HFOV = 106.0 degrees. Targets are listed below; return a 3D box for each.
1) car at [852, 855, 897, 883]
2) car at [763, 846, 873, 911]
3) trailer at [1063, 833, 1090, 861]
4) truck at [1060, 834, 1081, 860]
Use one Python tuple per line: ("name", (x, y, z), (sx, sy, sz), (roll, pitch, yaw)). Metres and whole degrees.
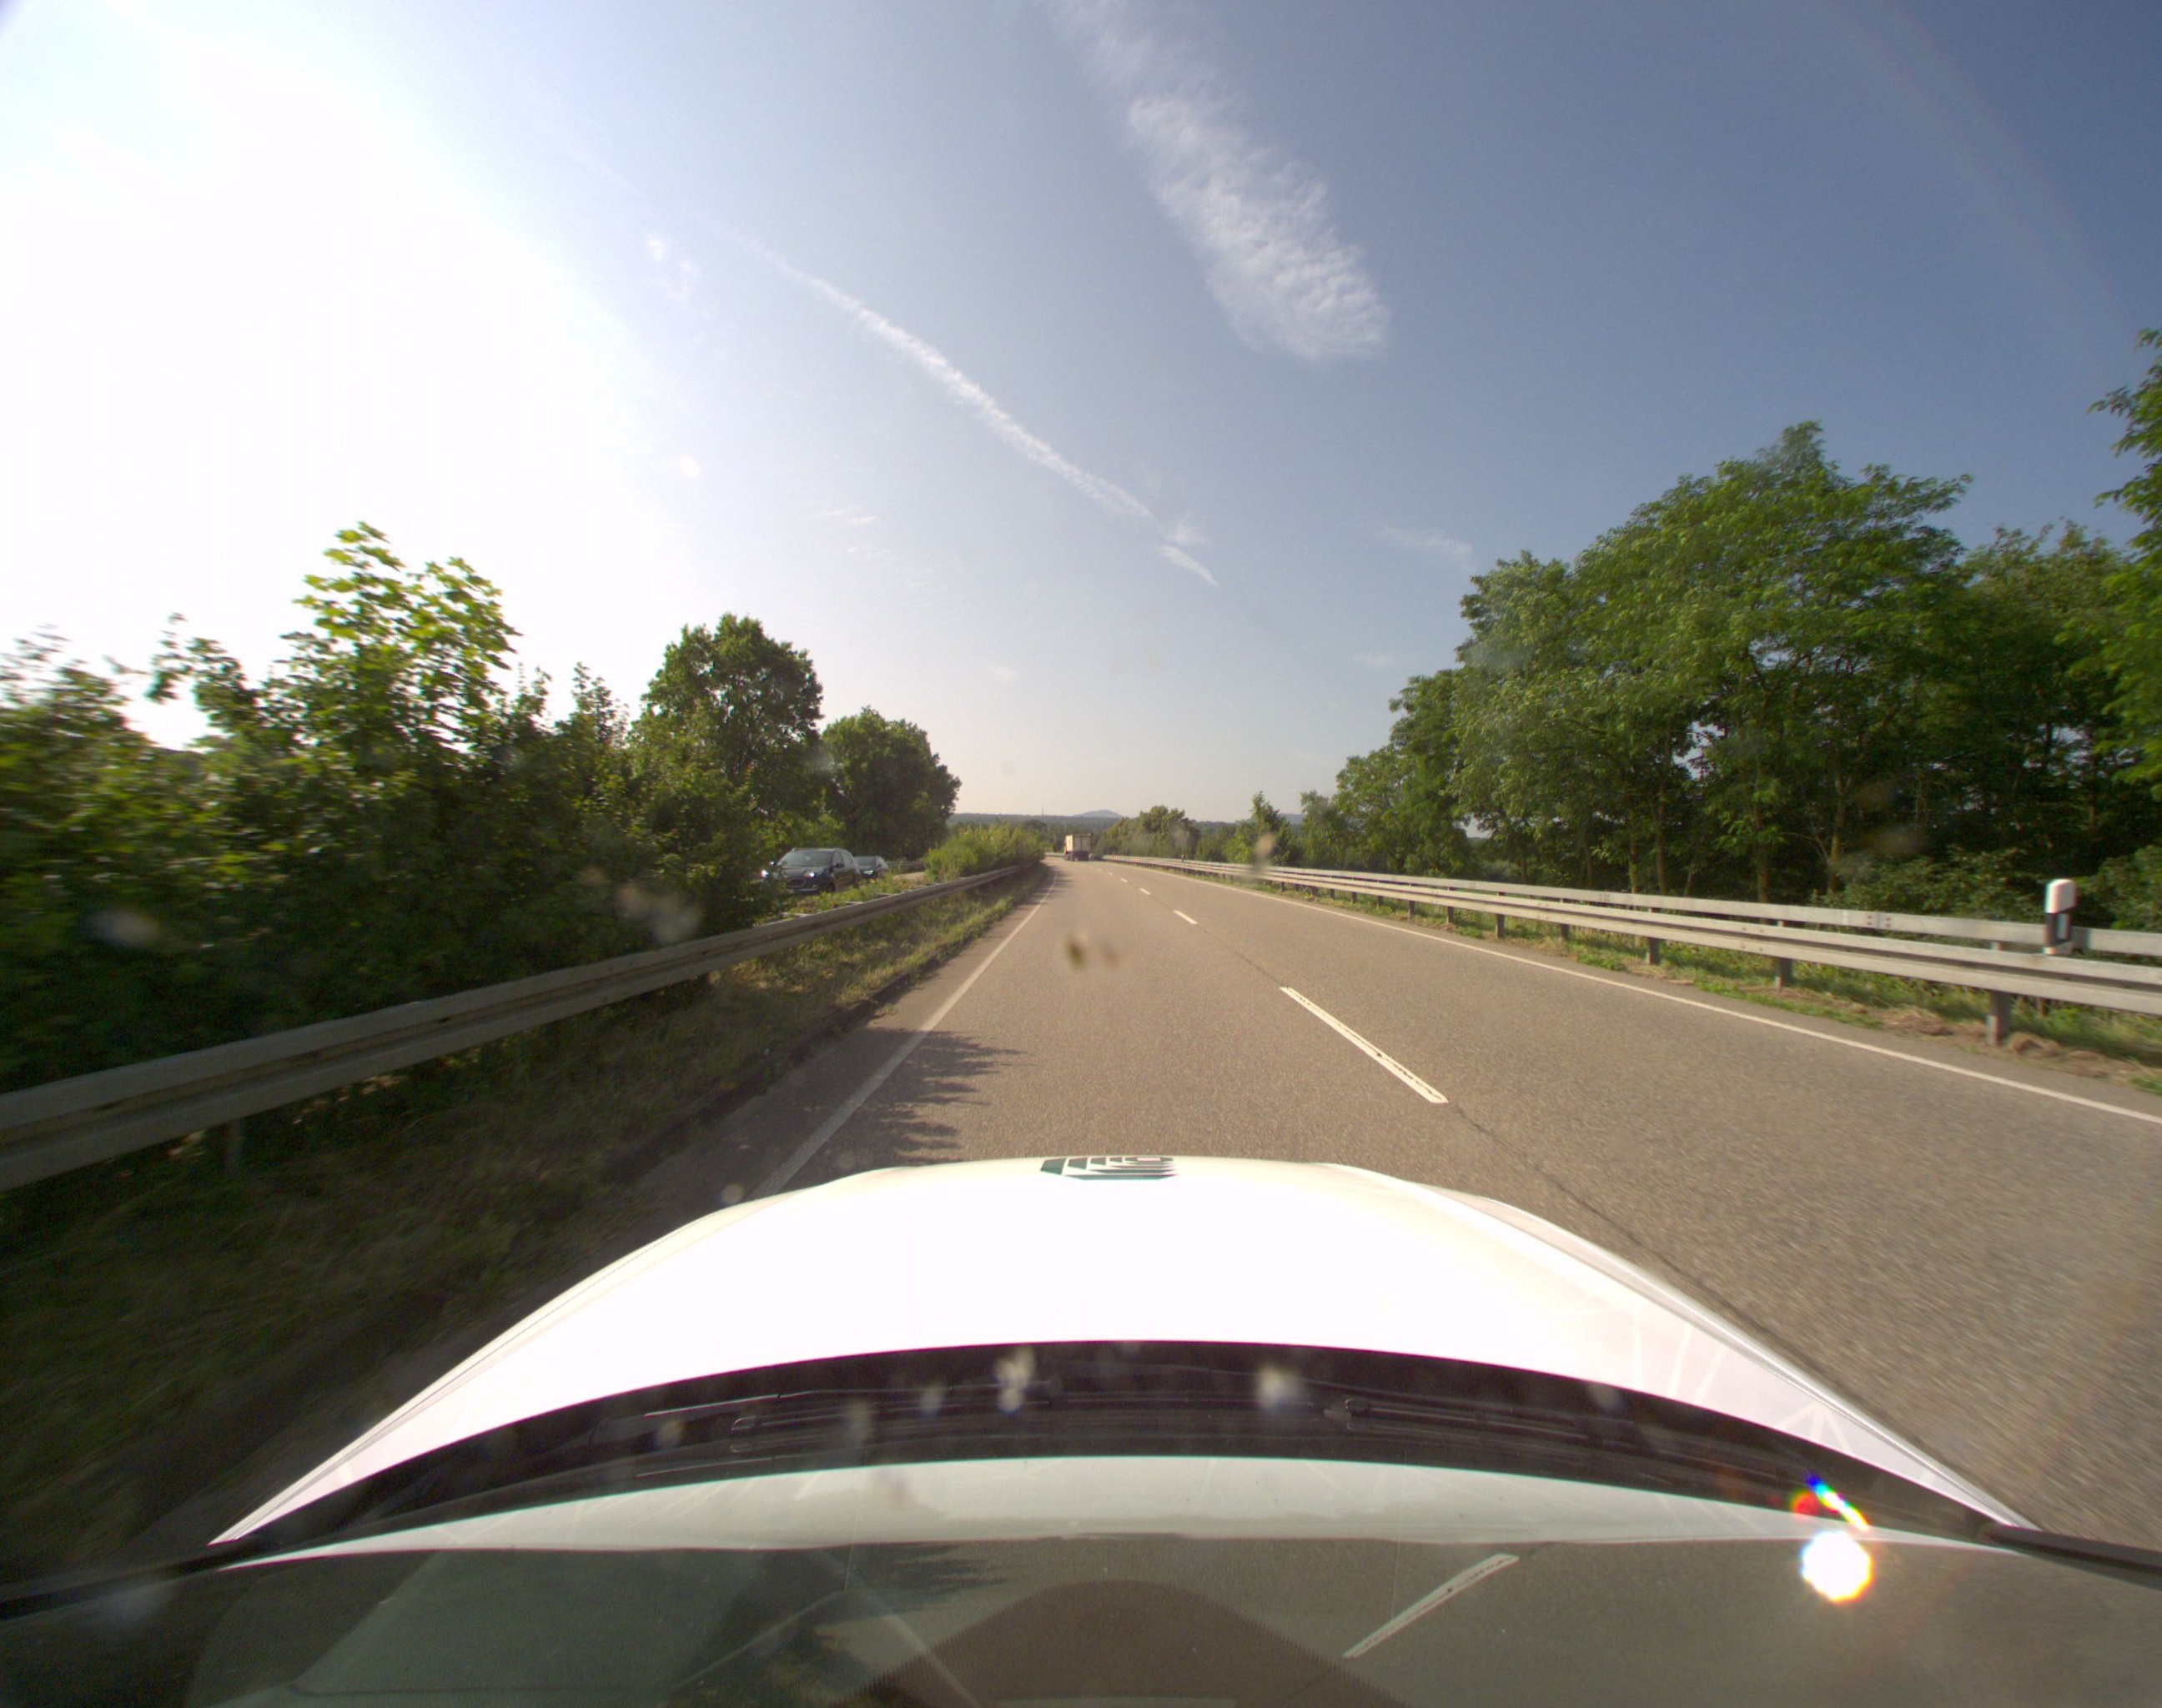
("car", (-10.972, 0.792, 43.492), (1.594, 1.419, 3.529), (-1, -1, -2))
("car", (-7.250, 0.617, 22.911), (1.587, 1.622, 4.322), (-1, 0, 1))
("trailer", (-0.750, -1.036, 121.590), (2.678, 3.907, 9.645), (-1, 0, -8))
("truck", (-1.629, -1.083, 127.679), (2.657, 3.896, 5.633), (-1, 1, -8))
